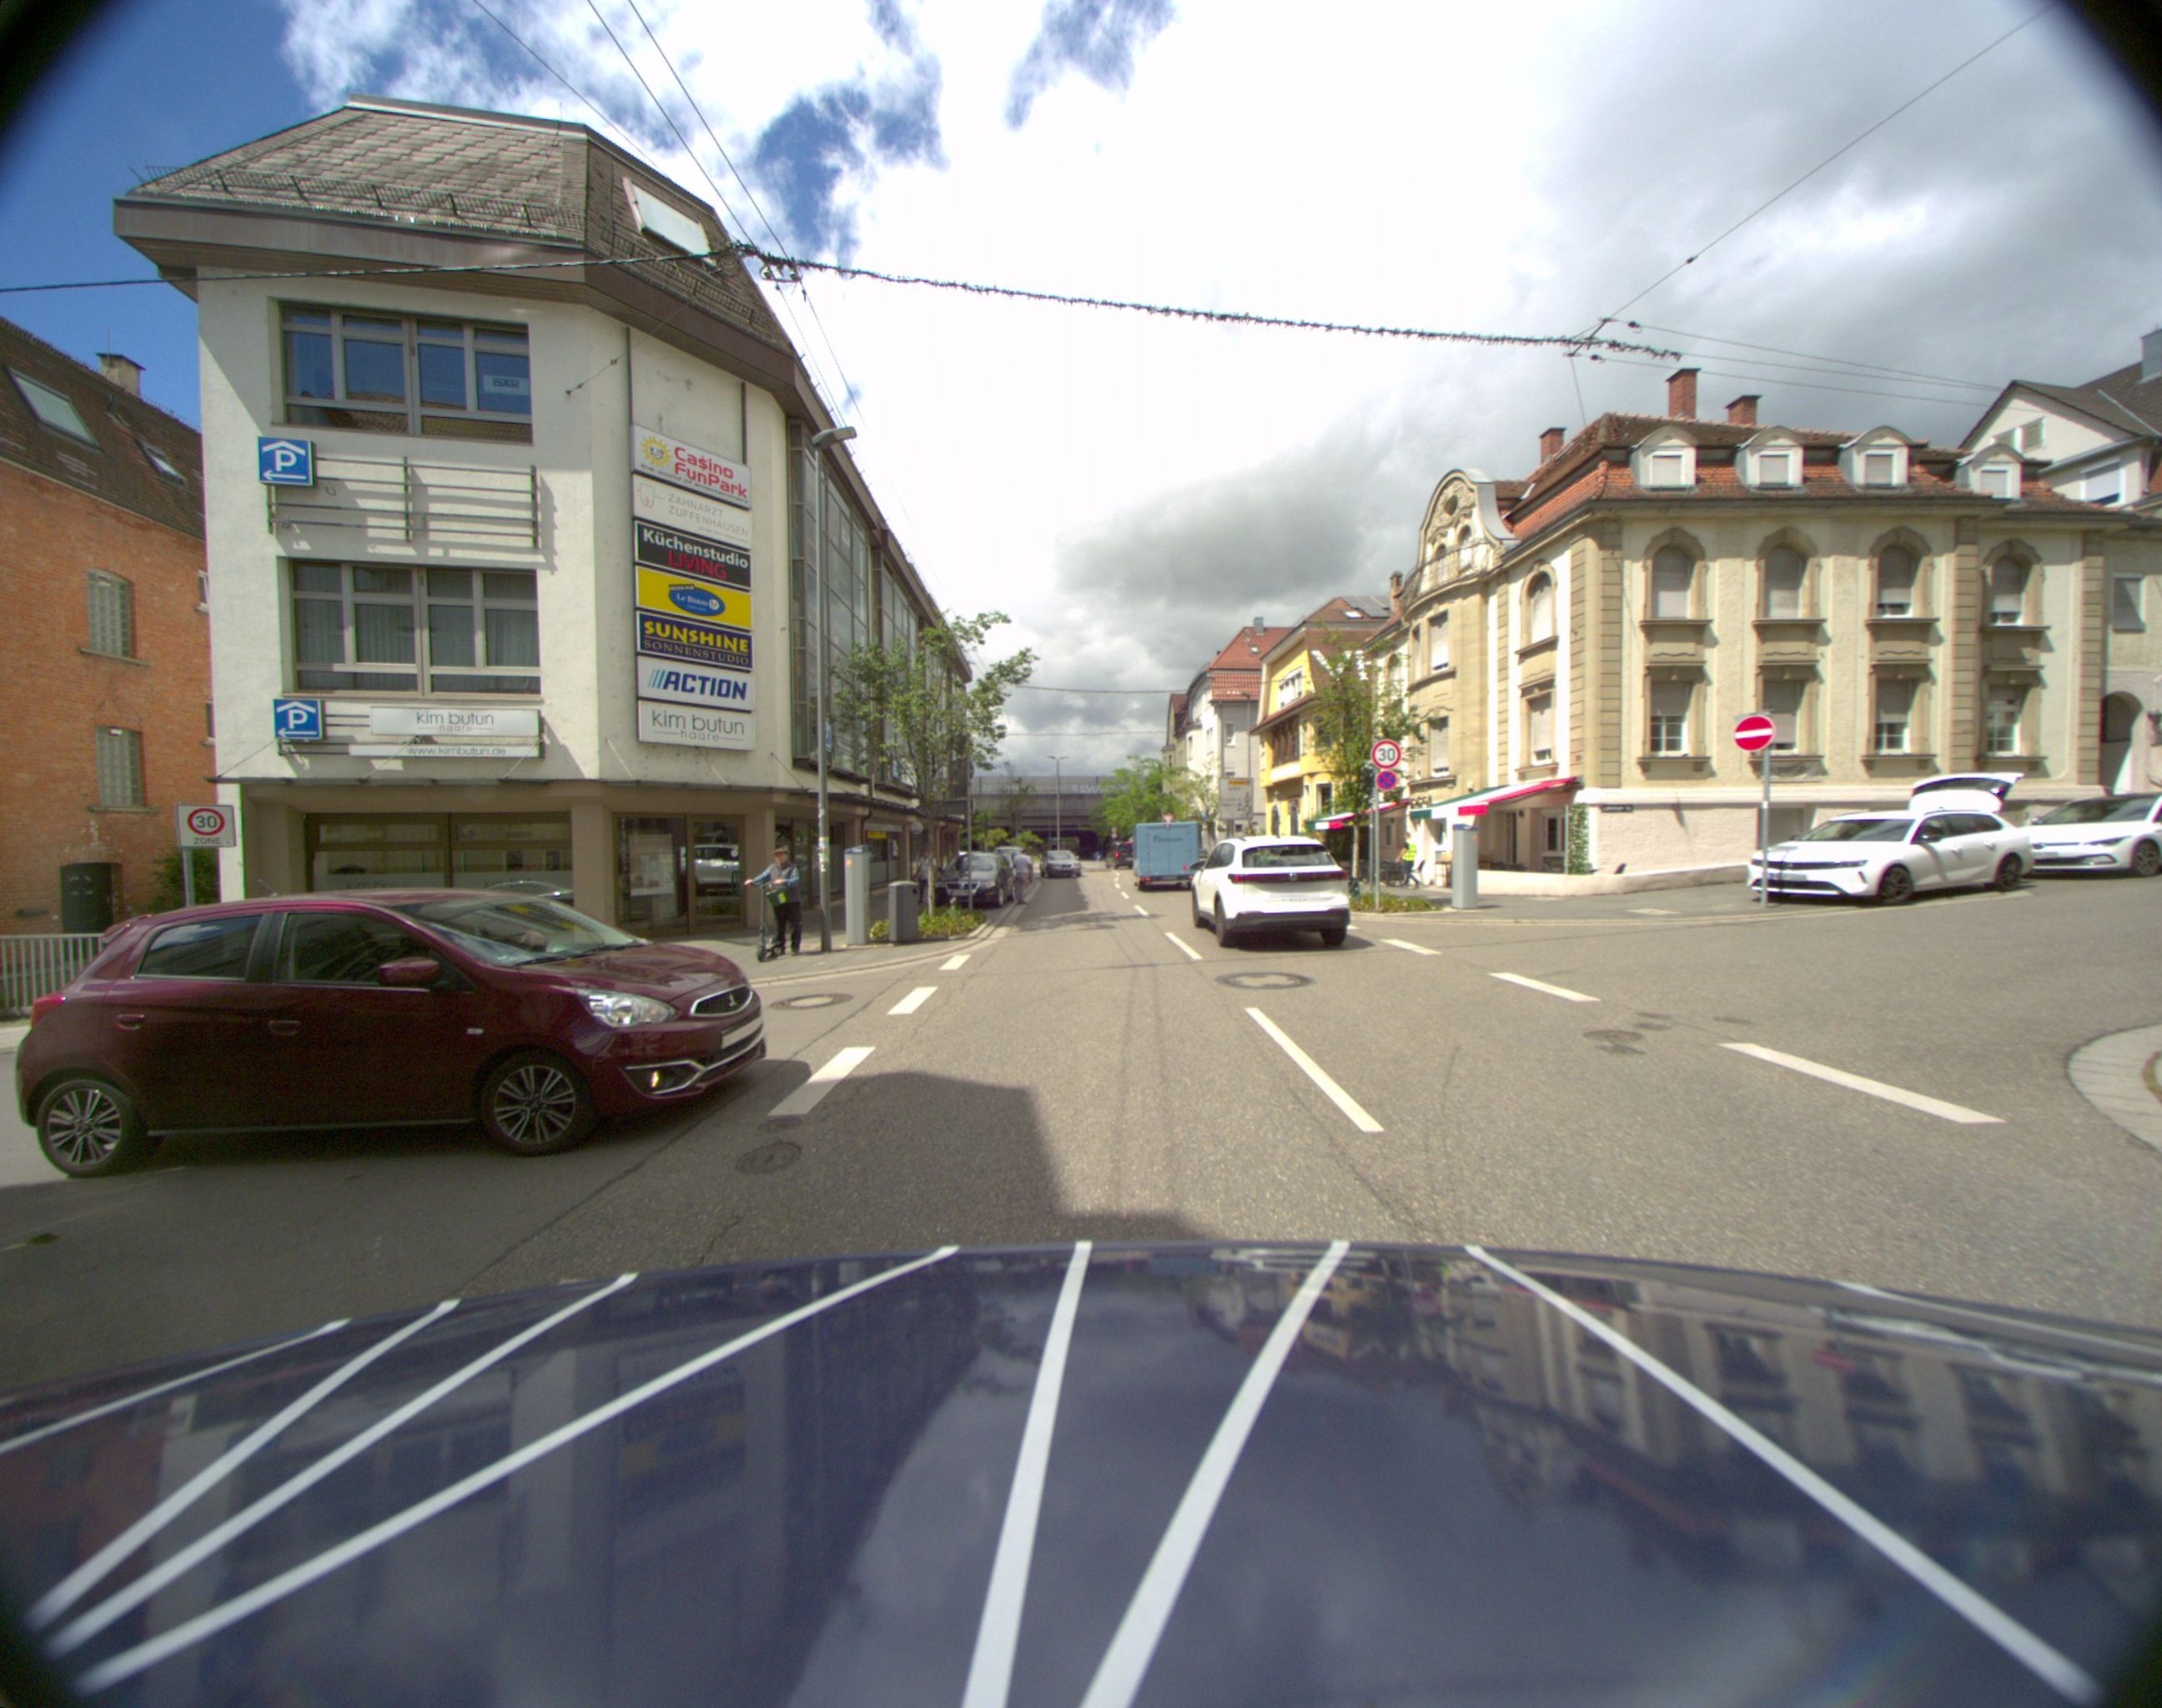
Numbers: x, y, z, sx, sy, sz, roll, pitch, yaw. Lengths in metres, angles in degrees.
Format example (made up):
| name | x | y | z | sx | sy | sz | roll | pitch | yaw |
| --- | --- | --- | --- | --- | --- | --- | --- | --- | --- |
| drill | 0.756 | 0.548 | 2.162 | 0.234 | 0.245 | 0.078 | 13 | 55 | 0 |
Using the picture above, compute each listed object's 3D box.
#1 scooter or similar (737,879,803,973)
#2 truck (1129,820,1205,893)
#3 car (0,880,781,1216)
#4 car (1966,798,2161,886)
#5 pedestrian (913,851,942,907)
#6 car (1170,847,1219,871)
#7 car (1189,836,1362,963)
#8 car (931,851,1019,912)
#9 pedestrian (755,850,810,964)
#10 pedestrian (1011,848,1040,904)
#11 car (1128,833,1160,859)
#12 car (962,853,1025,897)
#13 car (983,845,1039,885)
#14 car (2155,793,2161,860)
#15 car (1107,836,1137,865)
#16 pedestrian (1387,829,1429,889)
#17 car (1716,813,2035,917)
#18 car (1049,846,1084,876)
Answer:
| name | x | y | z | sx | sy | sz | roll | pitch | yaw |
| --- | --- | --- | --- | --- | --- | --- | --- | --- | --- |
| scooter or similar | -4.733 | 1.064 | 11.640 | 0.432 | 1.273 | 1.249 | -3 | 2 | -1 |
| truck | 3.016 | -0.005 | 28.033 | 2.111 | 2.292 | 6.474 | -3 | 1 | 1 |
| car | -4.058 | 1.049 | 4.644 | 3.755 | 1.521 | 1.537 | -3 | 2 | 3 |
| car | 19.249 | -0.283 | 14.175 | 4.234 | 1.373 | 1.829 | -4 | 2 | -13 |
| pedestrian | -4.386 | 0.702 | 21.734 | 0.661 | 1.553 | 0.477 | -3 | 2 | 1 |
| car | 6.470 | 0.286 | 43.693 | 1.722 | 1.296 | 4.464 | -1 | 0 | -5 |
| car | 2.907 | 0.563 | 12.252 | 1.792 | 1.631 | 4.115 | -3 | 1 | 2 |
| car | -2.826 | 0.669 | 21.216 | 1.719 | 1.445 | 4.551 | -1 | 1 | 1 |
| pedestrian | -4.601 | 0.796 | 11.740 | 0.572 | 1.693 | 0.481 | -3 | 2 | -3 |
| pedestrian | -1.605 | 0.630 | 21.914 | 0.584 | 1.591 | 0.549 | -2 | 2 | 21 |
| car | 6.770 | -0.886 | 82.766 | 2.309 | 2.657 | 7.265 | -3 | 1 | -4 |
| car | -3.181 | 0.716 | 28.496 | 1.857 | 1.436 | 4.534 | -1 | 1 | -1 |
| car | -3.053 | 0.435 | 34.075 | 1.825 | 1.652 | 4.467 | 1 | 1 | 3 |
| car | 24.386 | -0.678 | 15.249 | 4.234 | 1.373 | 1.829 | -4 | 2 | -13 |
| car | 2.870 | -0.220 | 53.632 | 1.876 | 1.921 | 5.176 | -1 | 0 | 1 |
| pedestrian | 9.833 | 0.135 | 22.887 | 0.801 | 1.746 | 0.812 | -3 | 2 | -9 |
| car | 13.674 | 0.129 | 13.137 | 4.390 | 1.373 | 1.997 | -4 | 2 | -16 |
| car | -0.766 | 0.366 | 41.608 | 1.724 | 1.517 | 3.598 | -1 | 1 | 1 |
